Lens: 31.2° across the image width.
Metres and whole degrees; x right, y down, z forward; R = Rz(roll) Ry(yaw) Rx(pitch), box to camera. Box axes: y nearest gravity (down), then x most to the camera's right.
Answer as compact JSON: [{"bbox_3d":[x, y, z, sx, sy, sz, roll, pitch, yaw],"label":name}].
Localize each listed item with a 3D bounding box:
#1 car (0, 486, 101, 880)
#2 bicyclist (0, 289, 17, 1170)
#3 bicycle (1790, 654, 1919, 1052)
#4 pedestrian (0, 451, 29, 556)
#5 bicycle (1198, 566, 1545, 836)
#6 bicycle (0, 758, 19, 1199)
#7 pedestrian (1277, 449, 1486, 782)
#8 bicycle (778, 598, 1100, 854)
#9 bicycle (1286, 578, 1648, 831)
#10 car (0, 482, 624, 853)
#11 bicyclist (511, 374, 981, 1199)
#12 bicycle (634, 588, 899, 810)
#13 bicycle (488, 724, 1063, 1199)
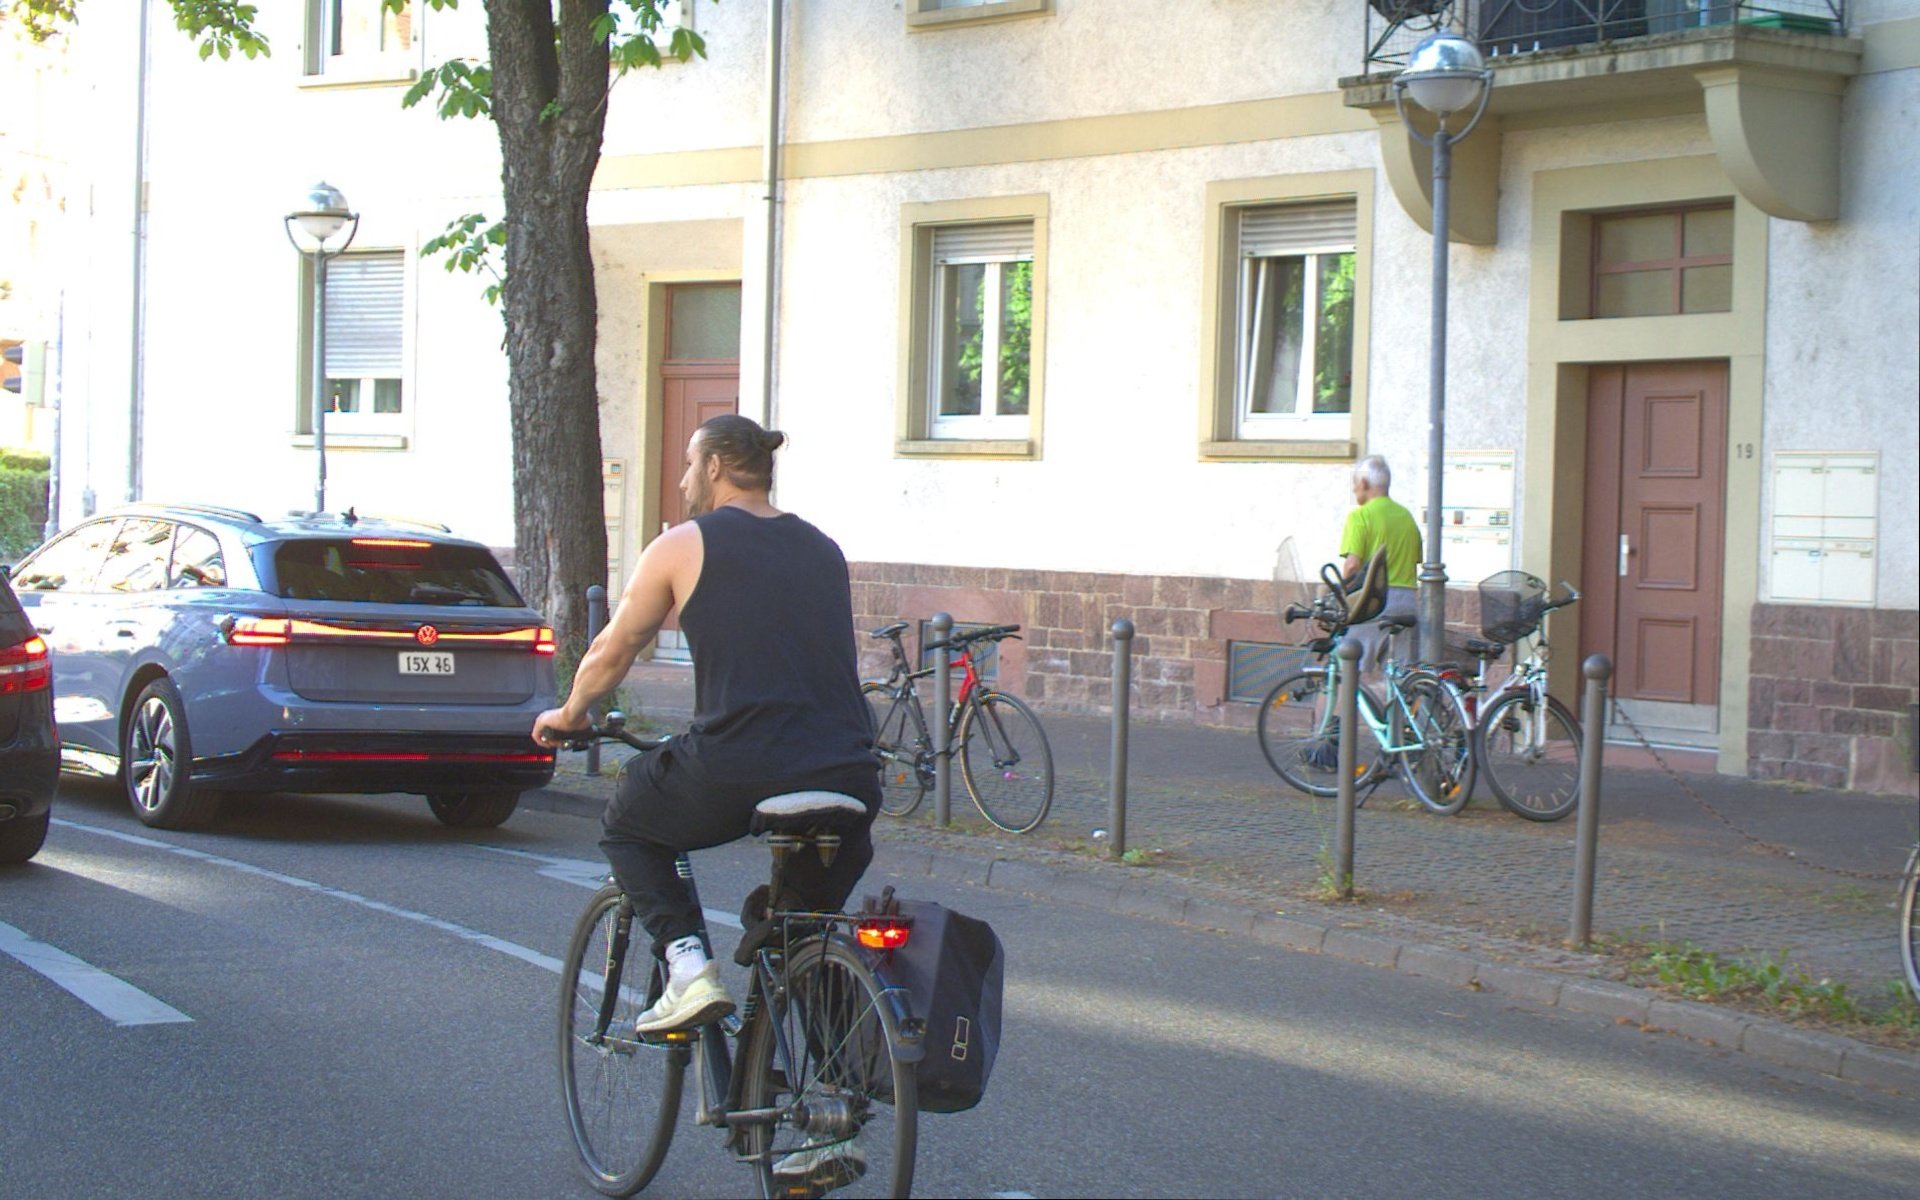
[{"bbox_3d":[-5.354,0.285,14.713,1.813,1.538,3.958,-2,3,-38],"label":"car"},{"bbox_3d":[-2.016,0.235,6.016,0.671,1.509,1.069,1,1,-14],"label":"bicyclist"},{"bbox_3d":[3.225,0.768,9.773,0.616,1.109,1.993,-2,3,-22],"label":"bicycle"},{"bbox_3d":[-18.410,-1.830,64.755,1.158,1.955,1.387,2,1,10],"label":"pedestrian"},{"bbox_3d":[1.976,0.452,16.820,0.494,1.168,2.117,-3,3,-30],"label":"bicycle"},{"bbox_3d":[-2.029,0.861,6.040,0.674,1.050,2.062,1,0,-14],"label":"bicycle"},{"bbox_3d":[2.340,0.062,19.066,0.659,1.788,0.995,3,3,44],"label":"pedestrian"},{"bbox_3d":[-0.131,0.564,16.314,0.616,1.054,1.929,-1,3,-31],"label":"bicycle"},{"bbox_3d":[2.483,0.482,17.126,0.582,1.110,2.117,0,2,-29],"label":"bicycle"},{"bbox_3d":[-3.525,0.245,17.154,1.892,1.572,4.000,1,2,-35],"label":"car"},{"bbox_3d":[-0.473,0.392,7.212,0.752,1.676,0.913,1,2,-16],"label":"bicyclist"},{"bbox_3d":[-1.028,0.479,17.639,0.520,0.995,2.192,1,2,-26],"label":"bicycle"},{"bbox_3d":[-0.466,0.824,7.311,0.737,1.008,2.062,2,0,-16],"label":"bicycle"}]
